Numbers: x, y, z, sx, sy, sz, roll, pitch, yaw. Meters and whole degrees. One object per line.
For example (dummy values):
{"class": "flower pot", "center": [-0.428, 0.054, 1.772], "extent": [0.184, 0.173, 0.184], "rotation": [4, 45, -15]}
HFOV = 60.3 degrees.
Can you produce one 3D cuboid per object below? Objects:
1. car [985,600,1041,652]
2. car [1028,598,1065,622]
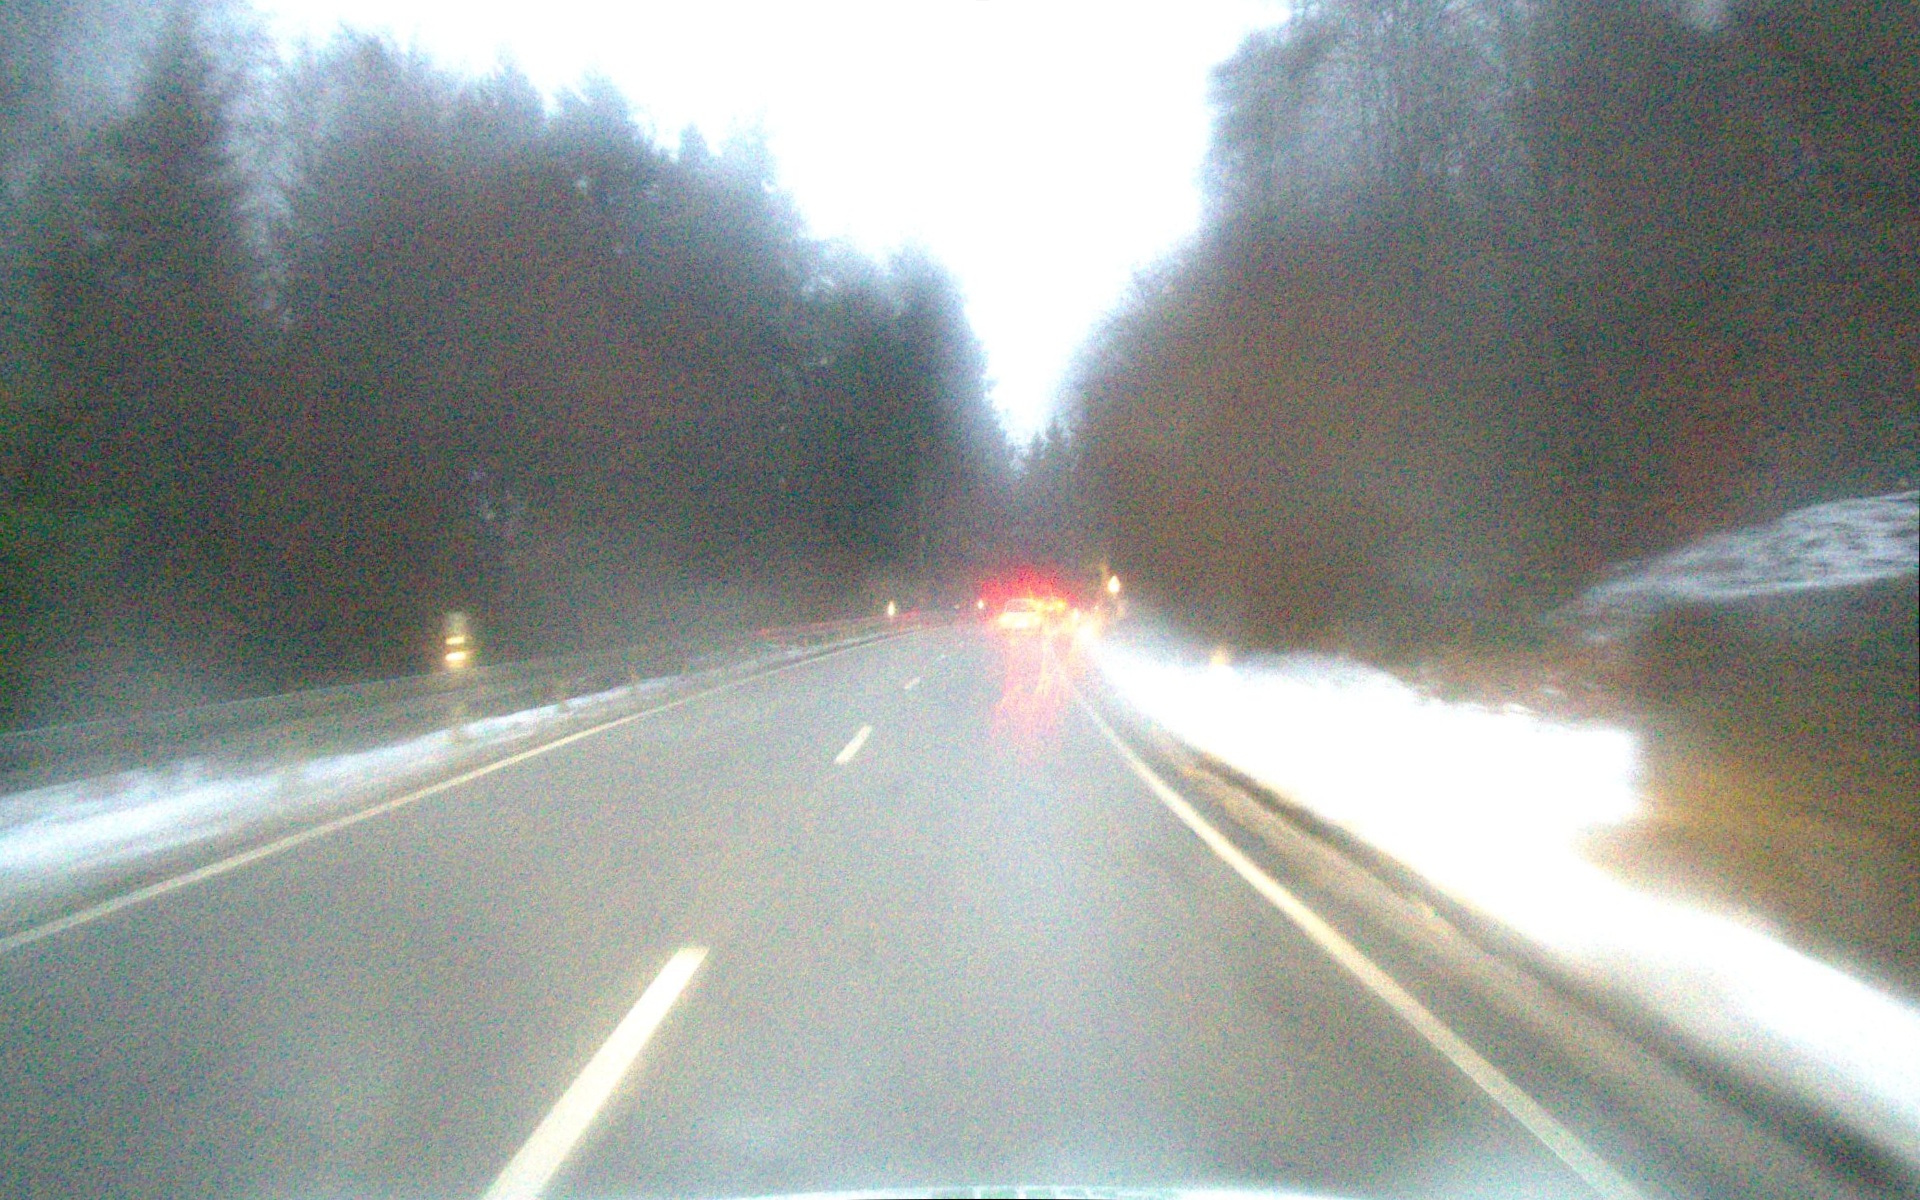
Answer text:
{"class": "car", "center": [2.062, 0.985, 65.251], "extent": [1.953, 1.905, 3.999], "rotation": [-3, 0, -1]}
{"class": "car", "center": [5.276, 0.599, 101.315], "extent": [1.953, 1.333, 3.999], "rotation": [-3, 0, -1]}
